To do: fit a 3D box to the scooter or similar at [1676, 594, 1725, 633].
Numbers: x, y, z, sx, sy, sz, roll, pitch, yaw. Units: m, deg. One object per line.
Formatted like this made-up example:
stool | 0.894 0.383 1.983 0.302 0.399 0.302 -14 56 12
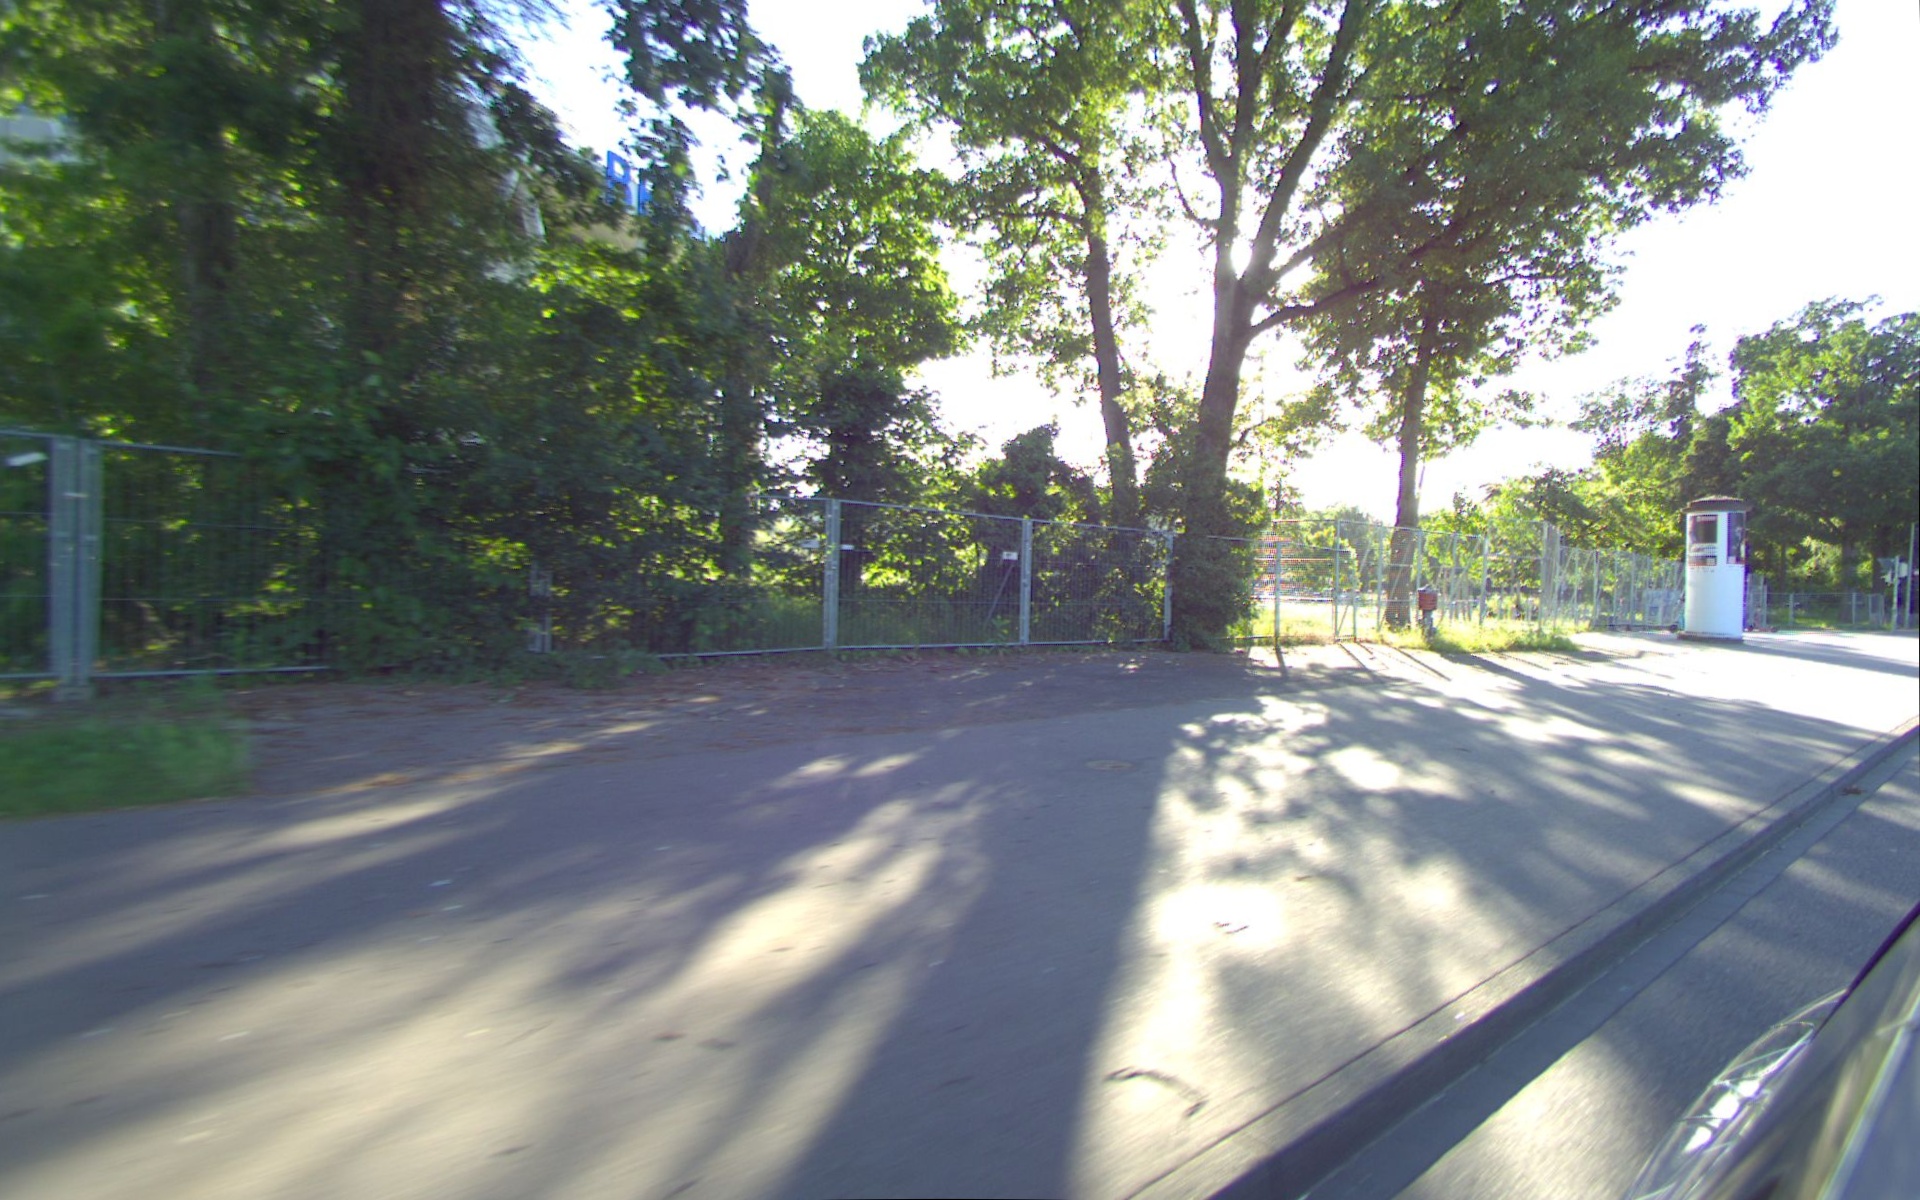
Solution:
scooter or similar | 25.178 0.446 34.421 1.282 1.253 0.334 2 1 15
